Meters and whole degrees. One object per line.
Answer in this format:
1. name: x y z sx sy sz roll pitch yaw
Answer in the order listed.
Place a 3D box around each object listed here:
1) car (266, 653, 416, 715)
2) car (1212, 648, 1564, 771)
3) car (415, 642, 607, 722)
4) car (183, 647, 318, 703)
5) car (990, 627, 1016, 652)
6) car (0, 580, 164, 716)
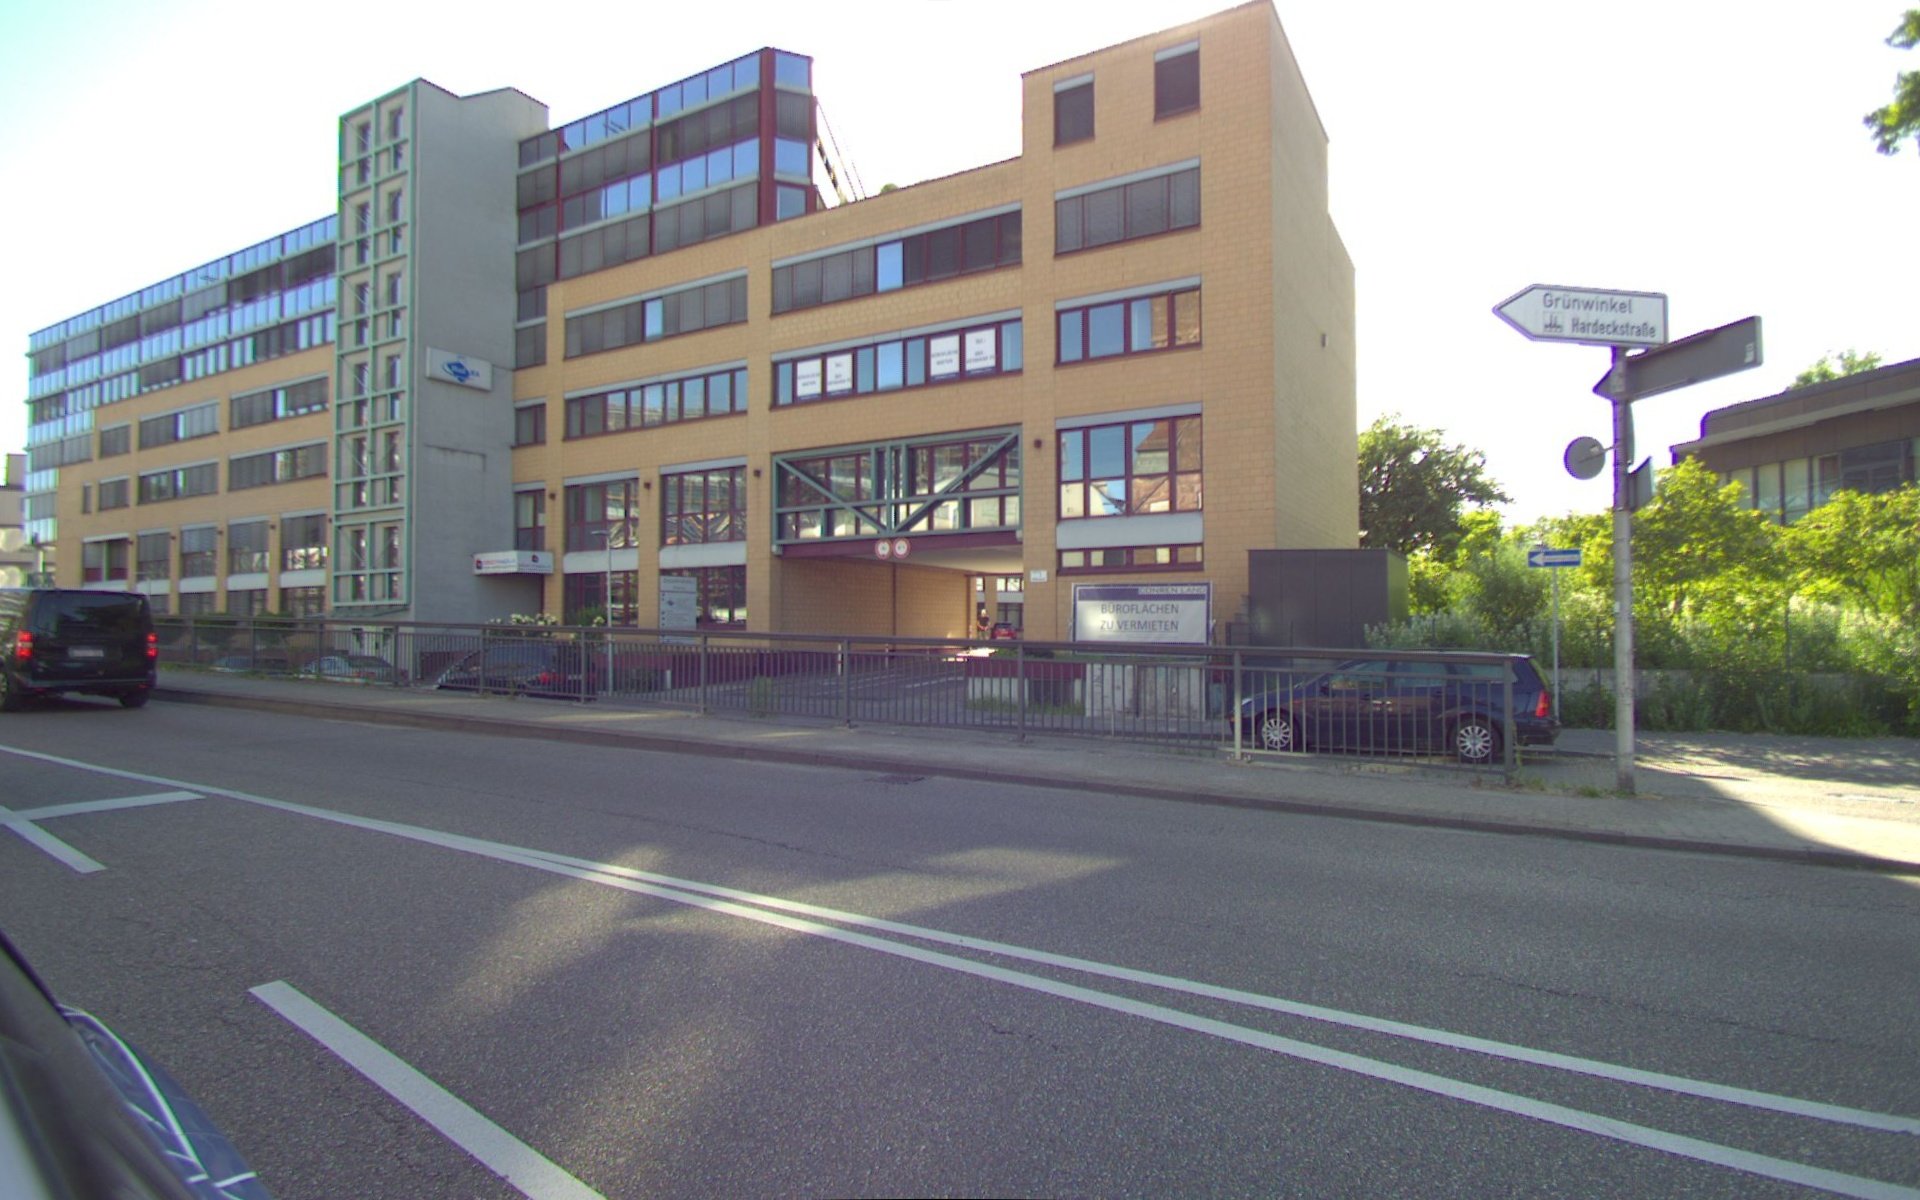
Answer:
1. car: -17.671 2.336 28.844 4.340 1.616 1.807 -1 -3 30
2. car: 6.118 1.461 14.659 4.438 1.515 1.805 -2 -3 34
3. car: -11.086 1.945 24.918 4.667 1.771 1.938 -1 -1 29
4. car: -22.257 2.290 31.727 4.340 1.616 1.807 -1 -3 30
5. car: 2.845 2.617 66.697 1.621 1.586 3.150 -1 -2 2
6. car: -15.236 0.778 16.600 4.837 1.950 1.977 -2 -3 33
